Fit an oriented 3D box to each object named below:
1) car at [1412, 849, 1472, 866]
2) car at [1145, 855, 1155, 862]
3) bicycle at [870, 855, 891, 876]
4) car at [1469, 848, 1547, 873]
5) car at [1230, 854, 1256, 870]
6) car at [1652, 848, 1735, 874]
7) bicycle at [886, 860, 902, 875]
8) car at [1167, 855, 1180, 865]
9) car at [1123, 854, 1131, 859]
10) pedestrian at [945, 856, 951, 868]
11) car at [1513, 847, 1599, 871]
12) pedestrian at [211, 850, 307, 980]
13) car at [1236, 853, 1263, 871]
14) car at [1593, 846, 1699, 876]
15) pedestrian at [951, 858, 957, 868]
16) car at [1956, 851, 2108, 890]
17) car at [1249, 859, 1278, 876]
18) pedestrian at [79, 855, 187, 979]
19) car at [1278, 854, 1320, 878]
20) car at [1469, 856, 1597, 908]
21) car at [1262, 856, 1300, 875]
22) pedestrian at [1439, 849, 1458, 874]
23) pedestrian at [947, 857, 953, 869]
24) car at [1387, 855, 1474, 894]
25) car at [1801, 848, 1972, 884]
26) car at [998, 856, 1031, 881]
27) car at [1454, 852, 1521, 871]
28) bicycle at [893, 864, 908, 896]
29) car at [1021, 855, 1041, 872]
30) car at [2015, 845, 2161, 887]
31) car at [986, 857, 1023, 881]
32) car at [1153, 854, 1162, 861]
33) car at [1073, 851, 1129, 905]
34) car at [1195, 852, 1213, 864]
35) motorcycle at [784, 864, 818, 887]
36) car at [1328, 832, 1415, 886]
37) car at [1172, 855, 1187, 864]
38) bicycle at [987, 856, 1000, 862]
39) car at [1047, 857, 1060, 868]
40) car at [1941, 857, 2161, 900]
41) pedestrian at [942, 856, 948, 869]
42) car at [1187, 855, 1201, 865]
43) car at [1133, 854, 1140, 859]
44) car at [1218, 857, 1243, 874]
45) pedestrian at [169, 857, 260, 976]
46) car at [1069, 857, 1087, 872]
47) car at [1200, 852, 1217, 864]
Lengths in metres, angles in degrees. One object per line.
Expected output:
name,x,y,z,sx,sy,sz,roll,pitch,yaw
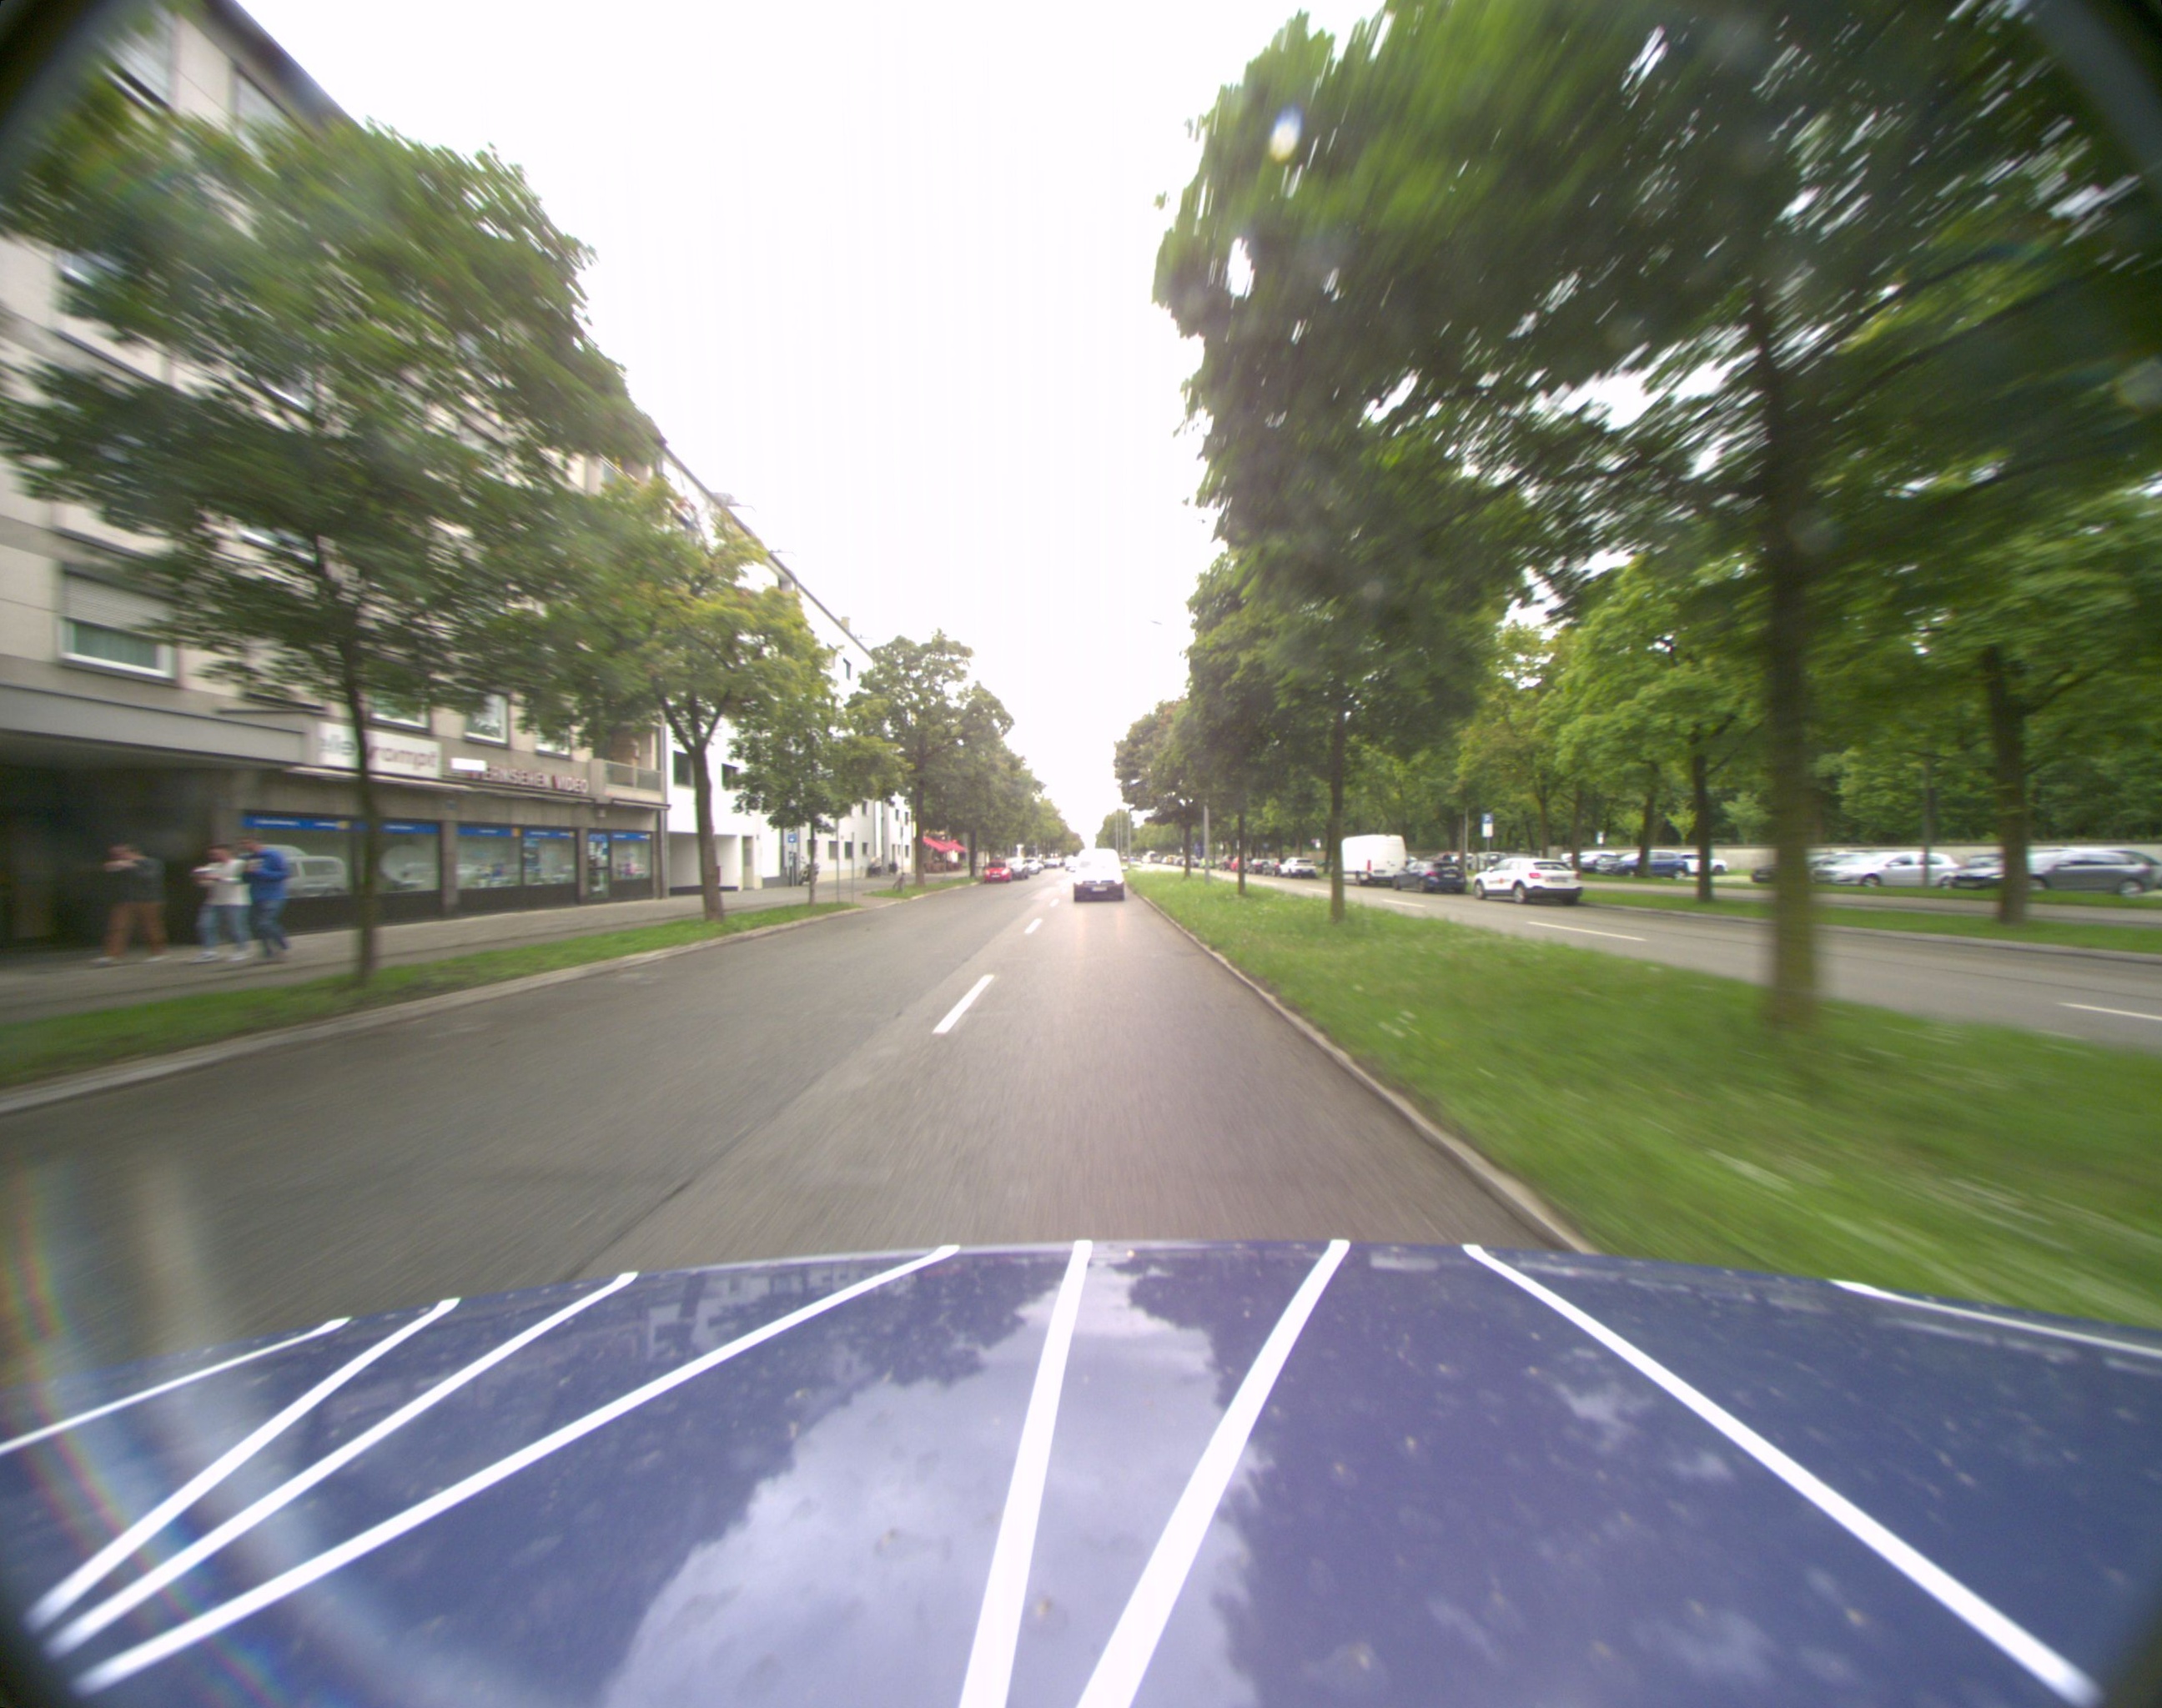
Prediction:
car,28.704,0.278,60.449,3.998,1.276,1.740,-1,0,-4
car,14.997,0.950,165.668,1.855,1.591,4.403,1,0,1
bicycle,-13.967,0.792,52.995,0.704,1.399,2.593,3,0,1
car,27.587,0.415,49.194,3.996,1.561,1.815,-1,0,3
car,16.343,0.806,76.872,1.826,1.471,3.809,-1,1,0
car,40.715,0.465,50.550,3.995,1.643,1.771,-1,0,6
bicycle,-13.968,0.989,56.797,0.623,1.040,2.195,3,0,1
car,17.417,1.091,143.305,1.862,1.761,4.533,1,0,-1
car,12.956,0.589,214.873,1.820,1.440,4.782,0,0,0
pedestrian,-14.122,0.896,80.633,0.539,1.260,0.487,-1,1,0
car,28.547,0.298,45.770,3.996,1.331,1.815,-1,0,4
pedestrian,-11.259,0.805,10.429,0.501,1.723,0.733,0,1,1
car,16.005,0.763,72.263,1.826,1.590,4.113,-1,0,2
car,28.907,0.347,38.981,3.995,1.429,1.815,-1,0,6
pedestrian,-13.908,1.015,83.180,0.539,1.048,0.487,-1,1,1
car,40.602,0.683,32.514,3.995,1.587,1.771,-1,0,6
car,15.942,1.152,66.587,1.825,1.401,4.001,1,0,3
pedestrian,-12.991,0.838,10.437,0.543,1.631,0.724,0,1,-3
car,15.726,0.825,55.028,1.826,1.519,4.298,1,1,0
car,15.038,0.861,25.582,1.862,1.482,4.141,-1,1,0
car,15.823,0.888,60.265,1.826,1.439,3.999,1,0,-2
pedestrian,22.666,0.464,46.848,0.796,1.487,0.856,-1,1,1
pedestrian,-14.039,0.954,81.620,0.539,1.207,0.487,-1,1,1
car,15.244,0.854,33.417,1.862,1.482,4.251,-1,1,0
car,28.400,0.427,26.894,3.995,1.202,1.784,-1,0,4
car,-4.871,1.025,56.152,1.833,1.736,4.508,-1,0,2
car,29.407,0.539,55.013,3.999,1.251,1.689,-1,0,-5
bicycle,-7.673,1.078,32.242,0.456,1.248,2.146,-1,0,-17
car,-4.856,0.908,74.420,1.834,1.513,4.522,-2,0,-3
car,40.430,0.472,30.274,3.995,1.587,1.771,-1,0,6
car,-5.026,0.970,50.417,1.524,1.433,4.002,-1,0,8
car,17.528,0.811,174.550,1.717,1.401,4.041,1,0,-1
car,0.703,0.801,27.666,1.772,1.742,4.546,-3,0,1
car,17.512,0.583,108.291,1.826,1.621,4.456,0,0,1
motorcycle,-13.695,1.040,37.220,0.763,1.079,2.199,0,0,1
car,15.531,0.268,41.192,2.145,2.628,7.106,1,0,1
car,17.669,0.939,136.655,2.007,1.607,4.041,1,0,-1
bicycle,-14.111,0.796,122.041,2.032,1.061,0.663,-1,1,-3
car,-3.976,1.174,109.776,1.648,1.468,3.956,-2,0,0
car,28.795,0.701,22.616,4.183,1.202,1.784,-1,0,4
pedestrian,-14.221,0.874,79.416,0.539,1.331,0.552,-1,1,0
car,16.947,0.921,114.042,1.654,1.414,3.687,2,0,2
car,16.769,0.765,229.450,1.826,1.544,3.721,-1,0,2
car,16.074,1.228,81.954,1.826,1.690,4.238,-1,1,0
pedestrian,-12.167,0.852,10.688,0.550,1.620,0.641,1,1,1
car,-0.323,1.180,88.458,1.984,1.591,4.403,1,0,1
car,16.745,0.529,99.834,1.644,1.490,4.001,1,0,2
